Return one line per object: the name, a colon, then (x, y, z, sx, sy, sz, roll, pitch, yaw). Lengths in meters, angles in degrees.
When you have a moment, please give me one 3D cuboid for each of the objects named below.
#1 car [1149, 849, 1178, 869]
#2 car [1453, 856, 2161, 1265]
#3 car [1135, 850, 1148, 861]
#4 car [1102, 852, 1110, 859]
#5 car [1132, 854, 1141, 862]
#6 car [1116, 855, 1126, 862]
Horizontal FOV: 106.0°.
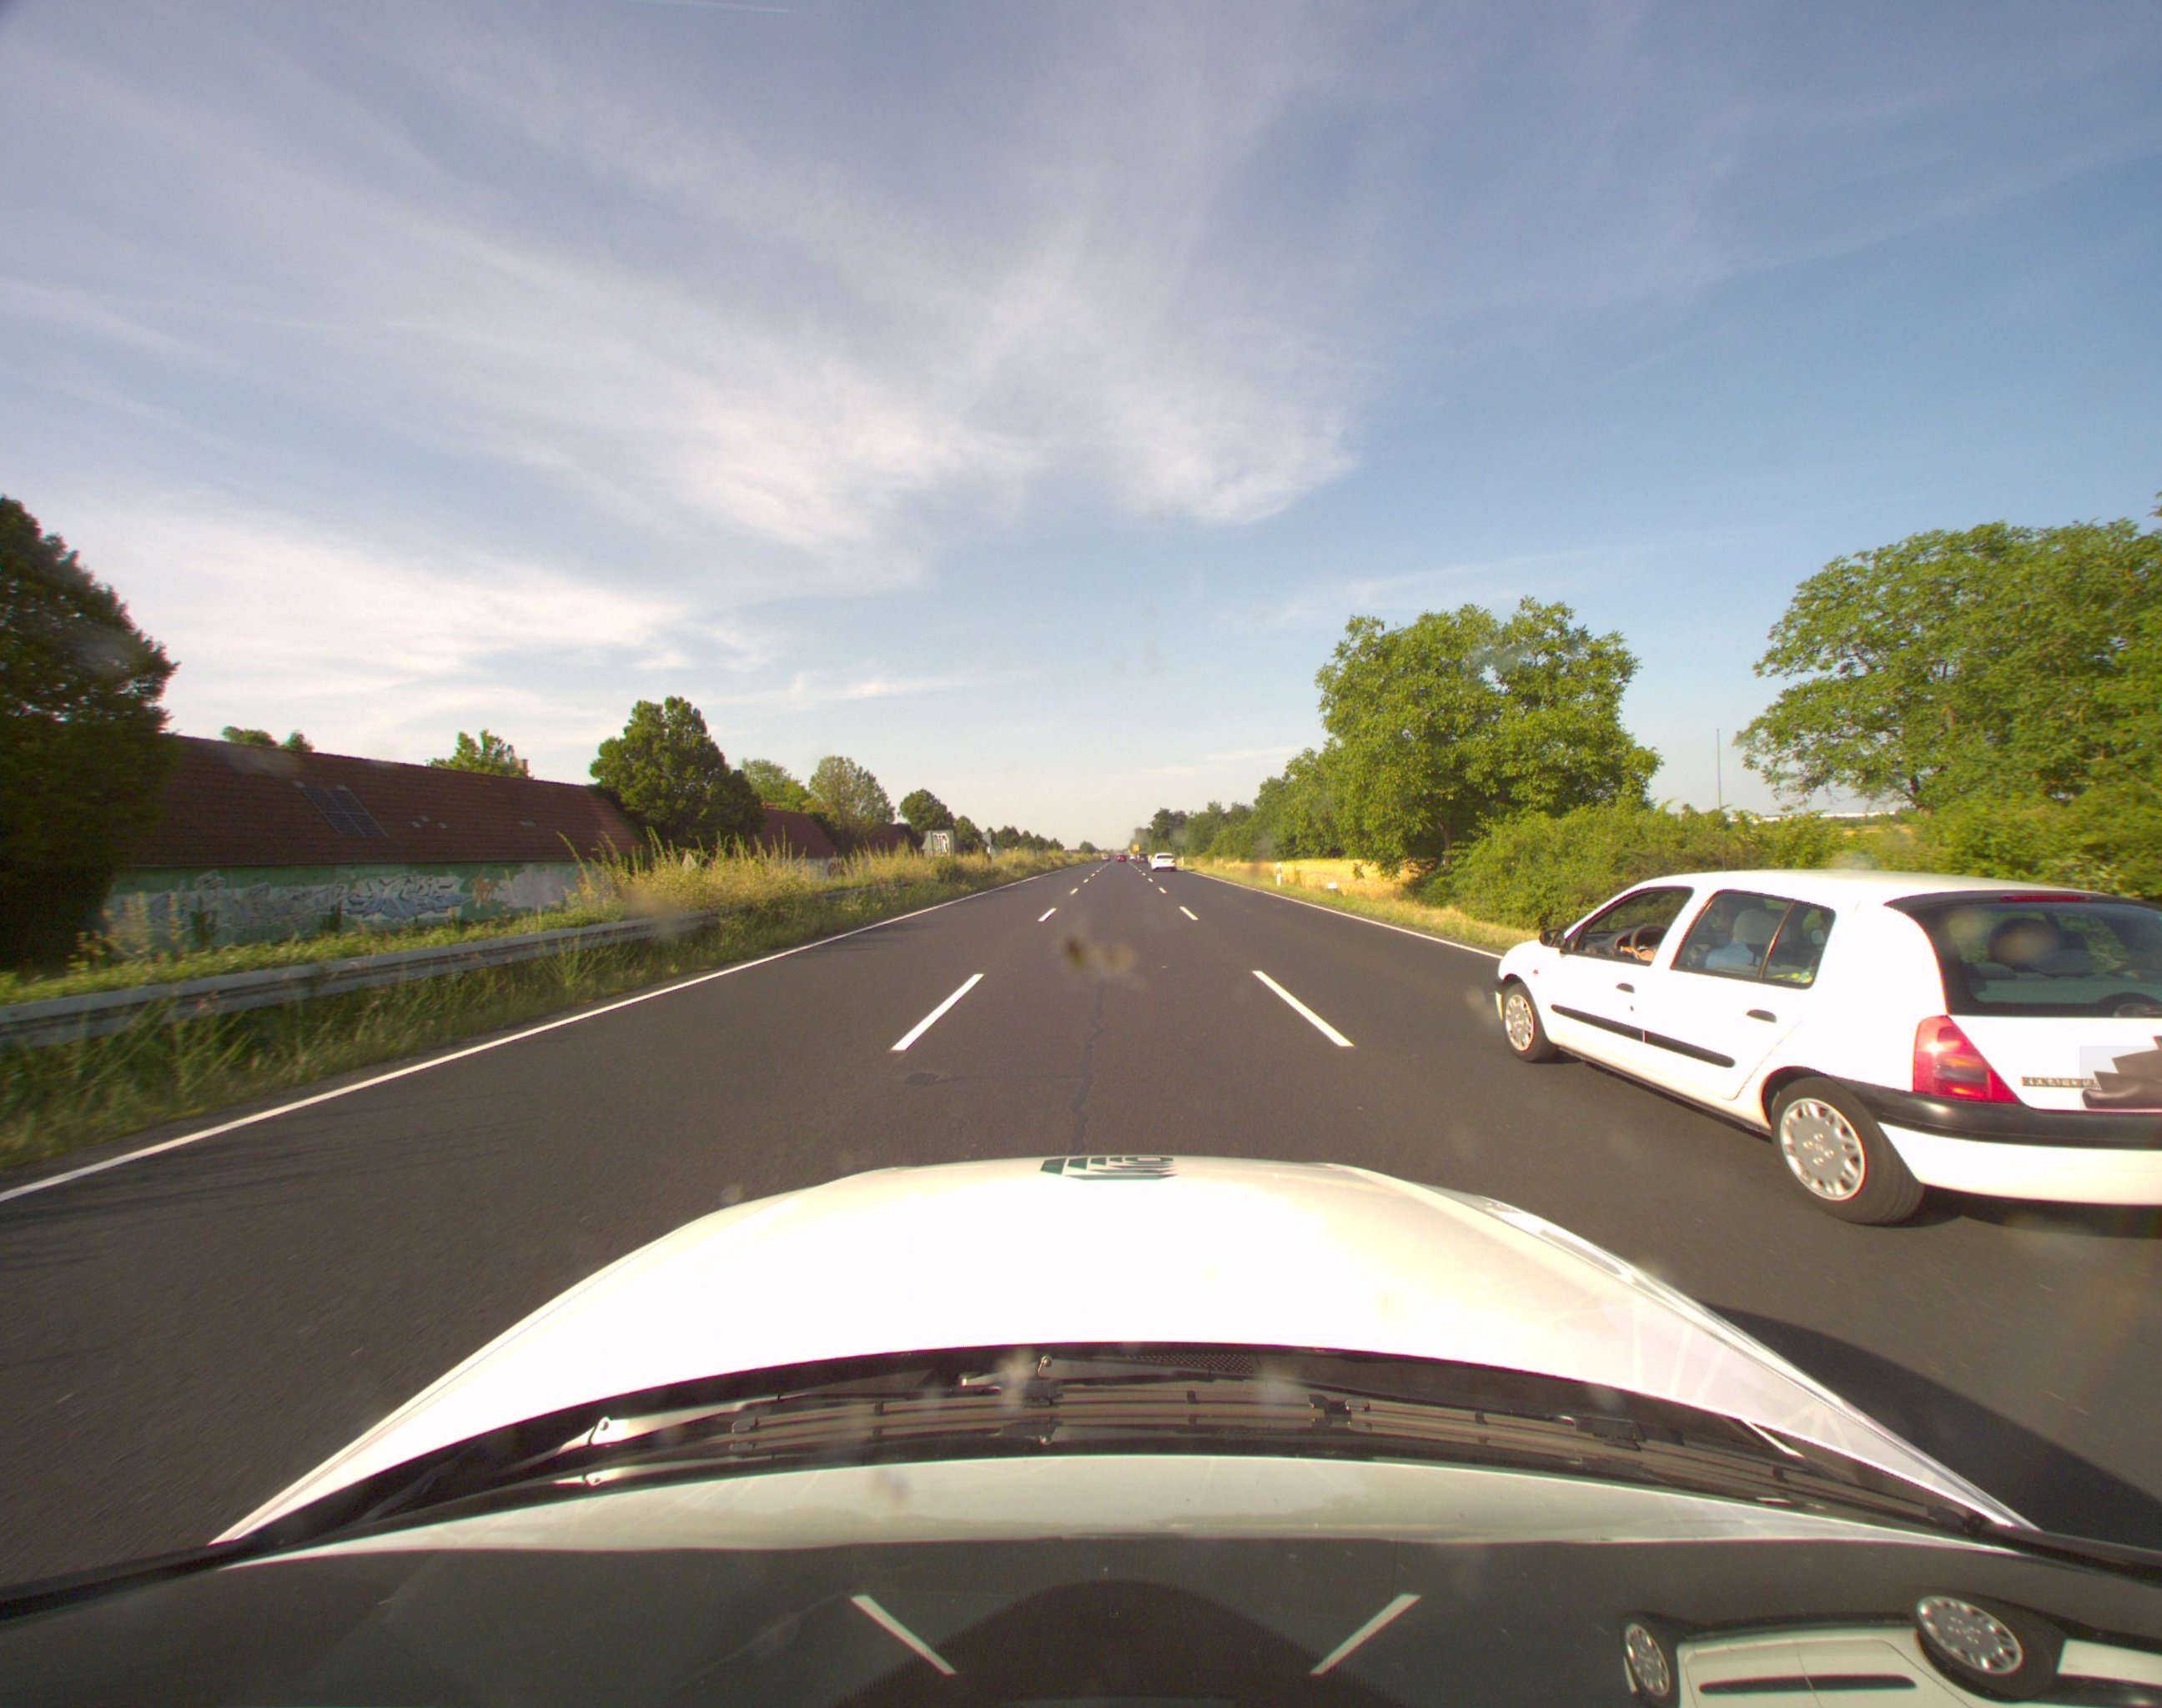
car: (6.413, 0.388, 63.483, 1.985, 1.516, 4.002, -1, -1, 2)
car: (3.824, 0.727, 4.753, 1.611, 1.387, 3.953, -1, -1, 2)
car: (9.439, 0.292, 127.203, 1.821, 1.728, 4.002, -1, -1, 2)
car: (6.061, 0.419, 194.883, 1.750, 1.618, 4.004, -1, -1, 4)
car: (11.390, 0.865, 166.963, 1.826, 1.717, 3.865, -1, -1, 3)
car: (7.652, 0.876, 155.045, 1.805, 1.436, 3.860, -1, -1, 2)
